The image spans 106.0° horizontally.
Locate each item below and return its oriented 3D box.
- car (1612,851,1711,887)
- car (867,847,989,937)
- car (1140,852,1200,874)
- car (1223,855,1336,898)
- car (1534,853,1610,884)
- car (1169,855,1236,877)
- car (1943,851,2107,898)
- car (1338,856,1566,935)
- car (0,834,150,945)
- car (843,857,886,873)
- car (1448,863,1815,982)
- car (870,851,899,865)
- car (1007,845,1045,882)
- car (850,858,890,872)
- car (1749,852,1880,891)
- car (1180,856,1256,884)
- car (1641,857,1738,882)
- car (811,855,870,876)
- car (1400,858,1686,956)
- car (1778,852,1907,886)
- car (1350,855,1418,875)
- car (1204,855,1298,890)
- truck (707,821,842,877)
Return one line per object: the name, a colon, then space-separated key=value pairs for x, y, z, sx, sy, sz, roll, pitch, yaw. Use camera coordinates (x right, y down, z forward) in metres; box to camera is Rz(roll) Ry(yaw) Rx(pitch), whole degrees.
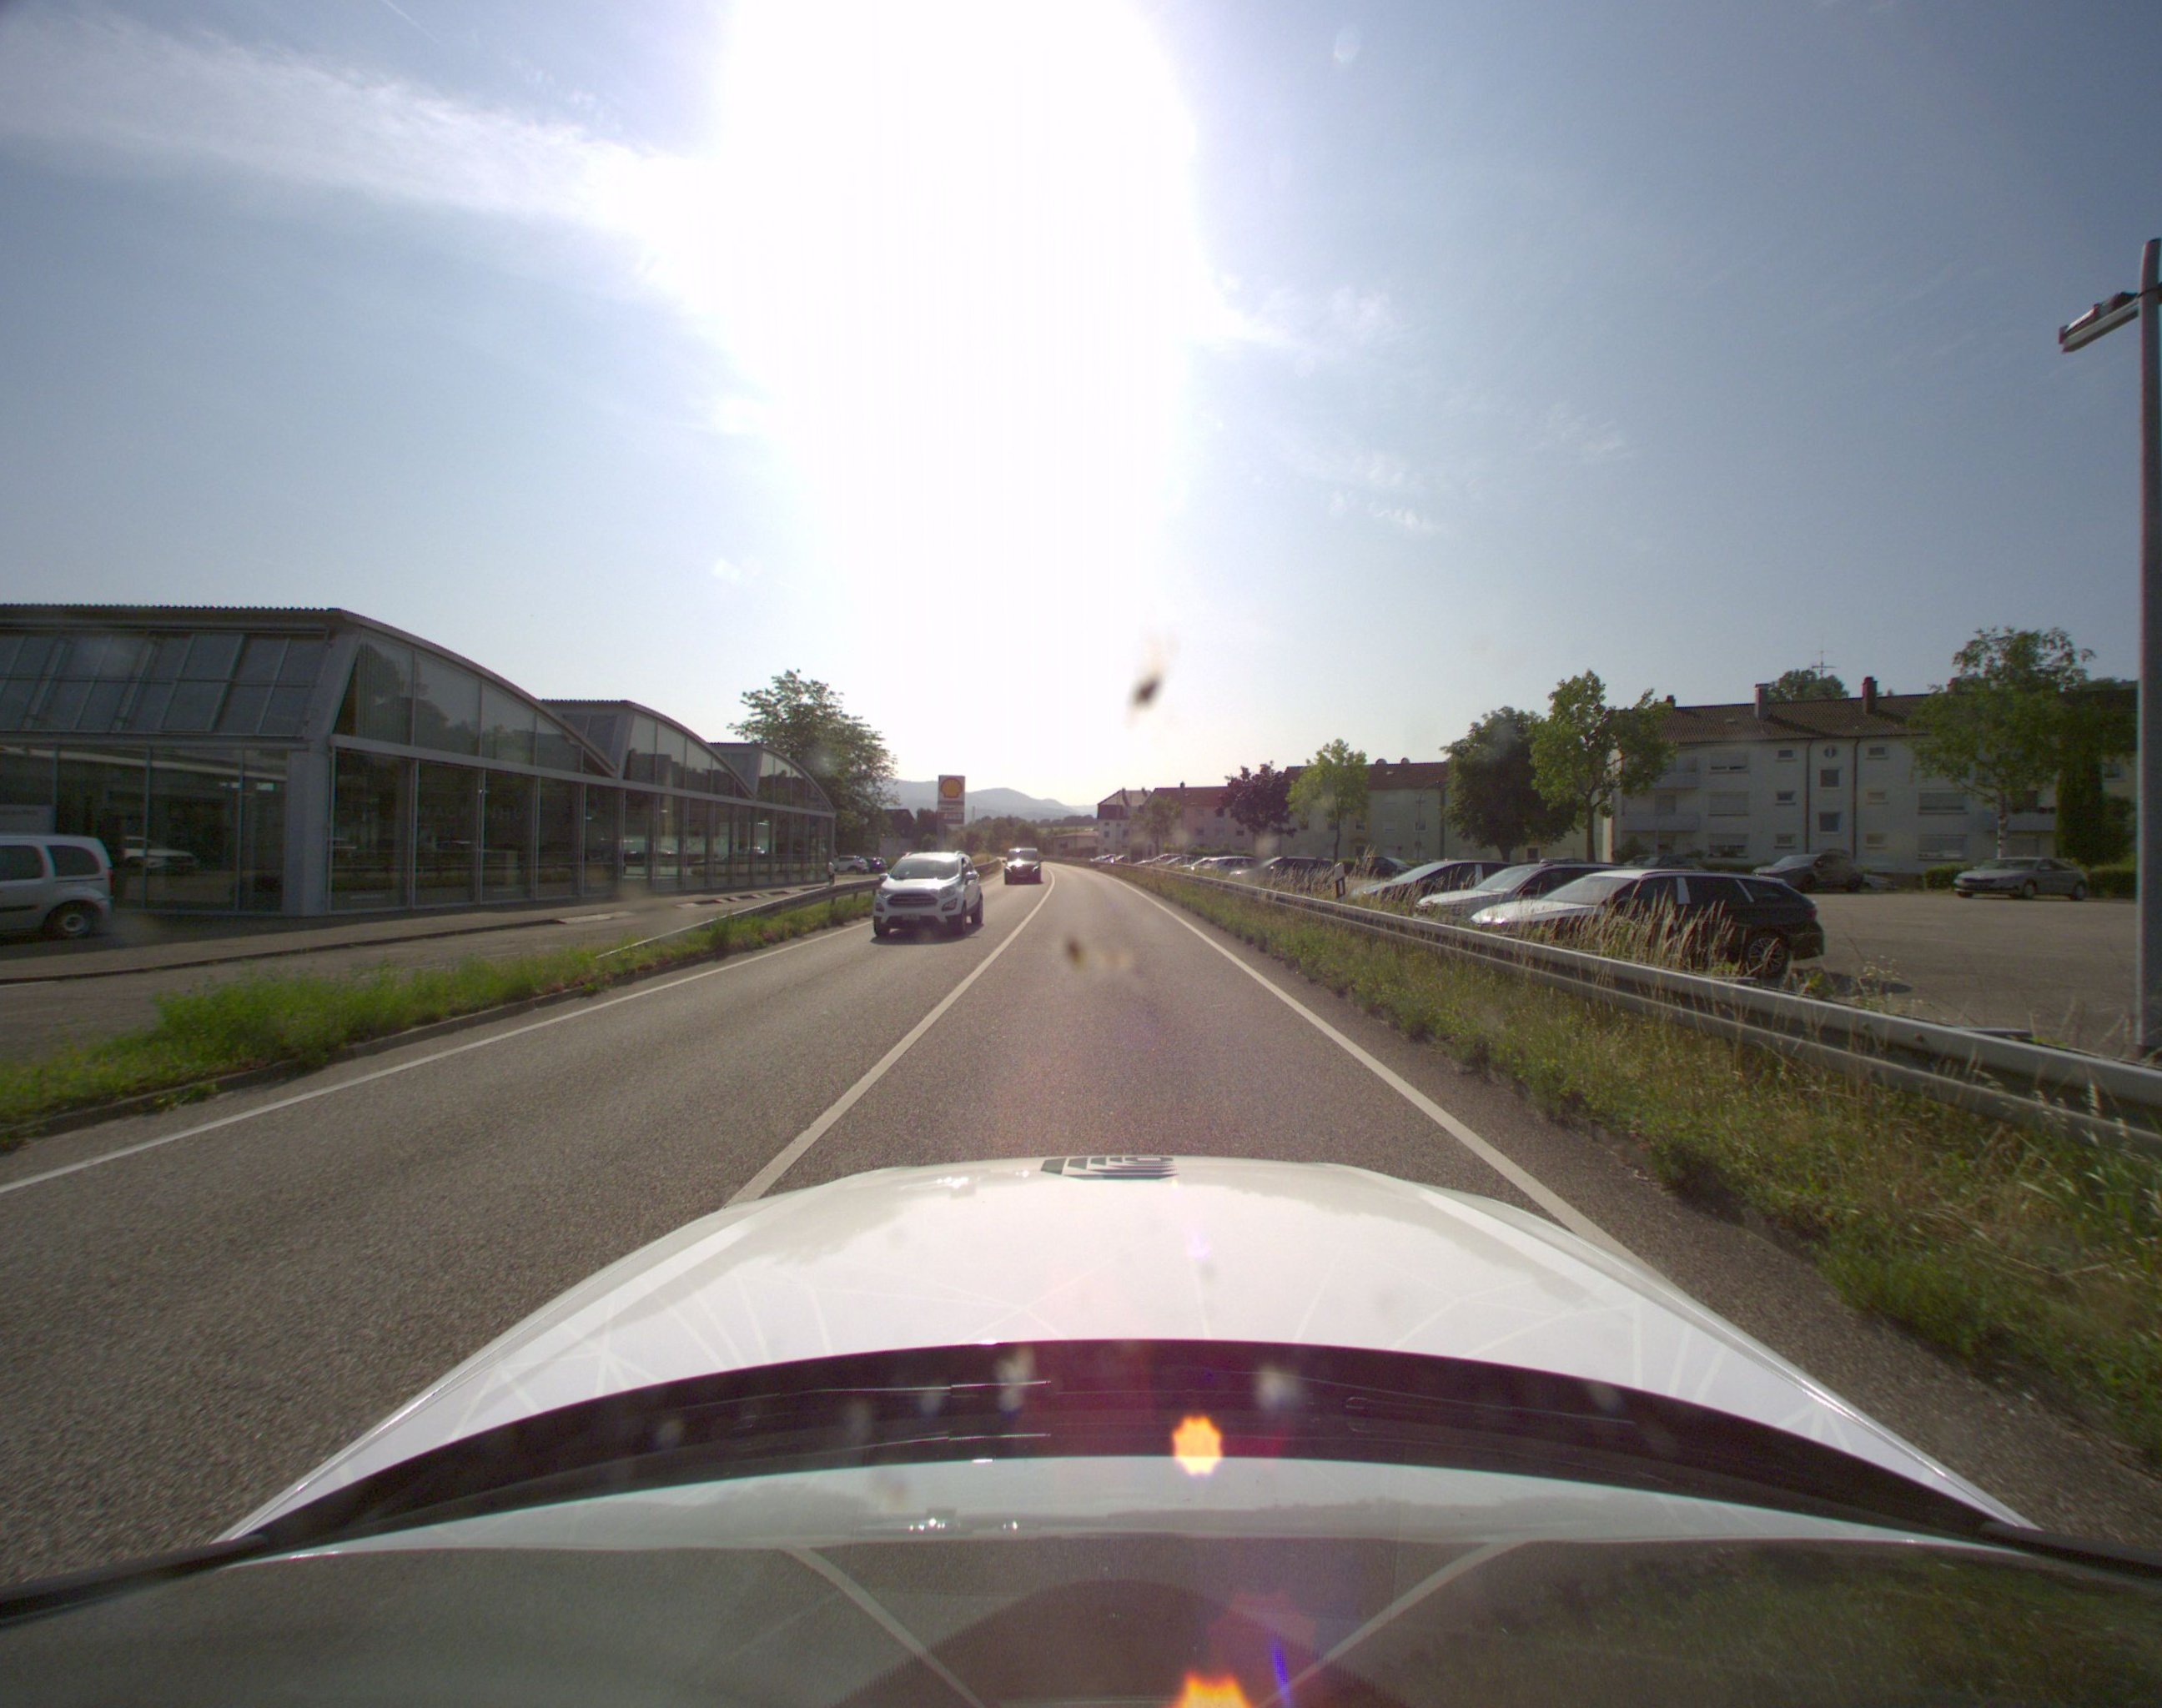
car: x=27.422 y=0.695 z=38.459 sx=4.504 sy=1.600 sz=1.826 roll=0 pitch=-1 yaw=-25
car: x=-3.096 y=0.715 z=17.353 sx=1.786 sy=1.630 sz=4.226 roll=-1 pitch=0 yaw=0
car: x=6.666 y=0.690 z=61.613 sx=4.306 sy=1.640 sz=2.139 roll=0 pitch=-1 yaw=-1
car: x=7.701 y=0.857 z=31.892 sx=3.975 sy=1.640 sz=1.887 roll=0 pitch=-1 yaw=-1
car: x=25.212 y=0.712 z=41.809 sx=3.774 sy=1.521 sz=1.642 roll=0 pitch=0 yaw=-27
car: x=8.303 y=0.818 z=55.743 sx=4.310 sy=1.444 sz=1.626 roll=0 pitch=-1 yaw=-3
car: x=32.702 y=0.669 z=28.234 sx=4.756 sy=1.521 sz=1.986 roll=0 pitch=-1 yaw=-17
car: x=7.945 y=0.864 z=17.723 sx=4.145 sy=1.545 sz=1.741 roll=-1 pitch=-1 yaw=0
car: x=-17.628 y=0.552 z=12.354 sx=1.797 sy=1.713 sz=4.412 roll=0 pitch=1 yaw=3
car: x=-21.055 y=1.038 z=79.238 sx=3.741 sy=1.499 sz=1.928 roll=1 pitch=-1 yaw=-6
car: x=7.814 y=0.935 z=11.851 sx=4.145 sy=1.491 sz=1.732 roll=-1 pitch=-1 yaw=0
car: x=-29.377 y=0.531 z=121.632 sx=4.844 sy=2.013 sz=2.012 roll=0 pitch=0 yaw=43
car: x=-3.009 y=0.499 z=44.299 sx=1.911 sy=1.885 sz=4.902 roll=-1 pitch=0 yaw=-5
car: x=-22.059 y=1.136 z=85.291 sx=3.742 sy=1.460 sz=1.858 roll=0 pitch=-1 yaw=-6
car: x=29.989 y=0.680 z=33.311 sx=4.631 sy=1.521 sz=1.853 roll=0 pitch=-1 yaw=-17
car: x=7.677 y=0.890 z=45.787 sx=3.975 sy=1.521 sz=1.697 roll=0 pitch=-1 yaw=-1
car: x=31.000 y=0.765 z=41.598 sx=1.598 sy=1.186 sz=3.628 roll=0 pitch=-1 yaw=-29
car: x=-19.969 y=0.921 z=67.779 sx=4.346 sy=1.655 sz=1.927 roll=1 pitch=-1 yaw=-7
car: x=8.183 y=0.904 z=14.707 sx=4.145 sy=1.556 sz=1.771 roll=-1 pitch=-1 yaw=0
car: x=34.621 y=0.668 z=37.147 sx=1.790 sy=1.475 sz=3.956 roll=0 pitch=-1 yaw=-25
car: x=21.622 y=0.778 z=58.285 sx=1.918 sy=1.405 sz=4.487 roll=0 pitch=-1 yaw=-25
car: x=7.882 y=0.838 z=37.925 sx=3.981 sy=1.580 sz=1.775 roll=0 pitch=-1 yaw=-5
truck: x=-20.747 y=-0.307 z=55.621 sx=2.770 sy=3.557 sz=8.263 roll=1 pitch=0 yaw=39
